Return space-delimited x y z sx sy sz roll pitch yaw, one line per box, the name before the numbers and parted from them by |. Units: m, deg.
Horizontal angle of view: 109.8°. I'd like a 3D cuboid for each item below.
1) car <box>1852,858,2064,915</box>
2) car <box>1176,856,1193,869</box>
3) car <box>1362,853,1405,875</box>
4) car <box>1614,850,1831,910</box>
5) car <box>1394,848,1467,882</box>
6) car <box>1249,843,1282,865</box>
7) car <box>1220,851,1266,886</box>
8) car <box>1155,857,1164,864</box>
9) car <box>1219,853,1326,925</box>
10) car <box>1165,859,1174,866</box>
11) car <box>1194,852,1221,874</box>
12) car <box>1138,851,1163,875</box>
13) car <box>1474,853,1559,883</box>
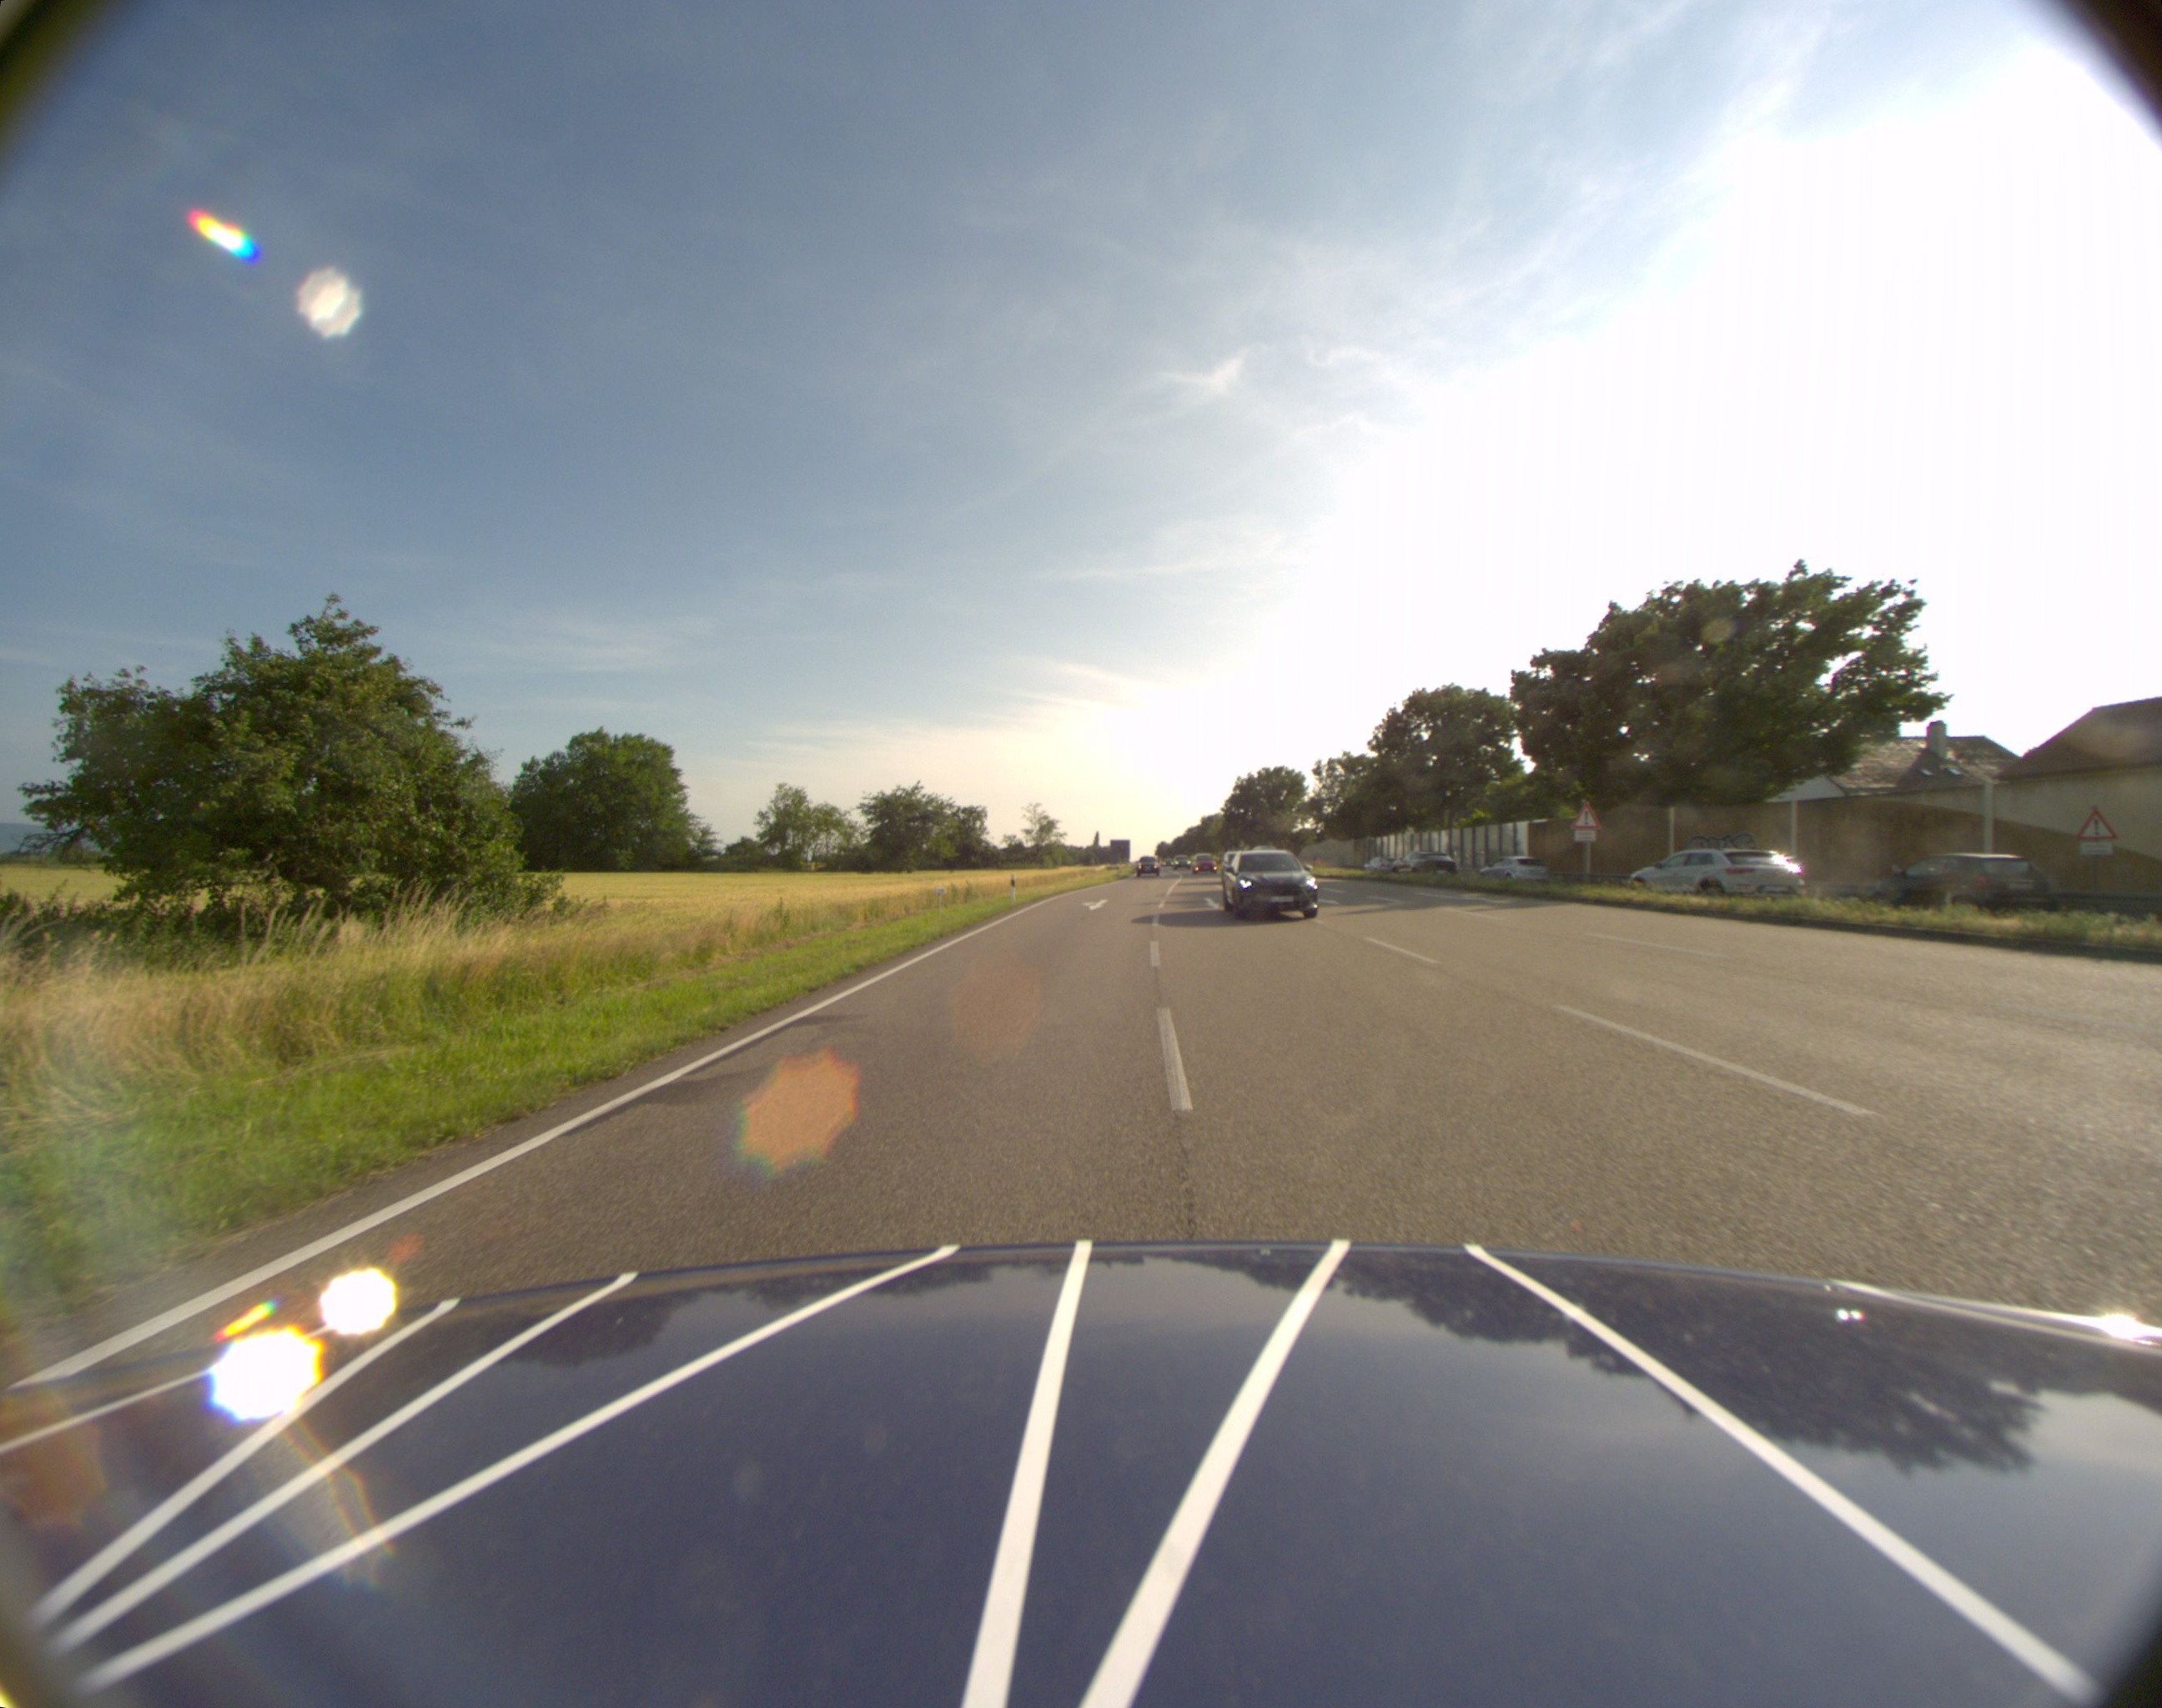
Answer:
car | 20.062 0.701 17.568 1.477 1.157 3.063 -2 0 5
car | 12.684 1.062 93.453 1.809 1.499 4.001 -2 0 4
car | 22.972 0.716 57.886 1.655 1.558 4.713 -2 0 5
car | 16.374 0.612 19.800 1.877 1.314 4.715 -2 0 4
car | 18.149 0.545 39.723 1.735 1.615 4.924 -2 0 4
car | 20.726 0.048 85.694 2.353 2.290 7.193 -2 0 4
car | 8.568 0.749 40.419 1.822 1.724 4.001 -2 0 5
car | 19.629 1.708 190.441 1.823 1.674 4.001 -2 0 3
car | 4.533 0.760 18.610 1.821 1.516 4.248 -2 0 5
car | 16.922 1.585 145.302 1.496 1.149 3.651 -2 0 3
car | 10.485 0.737 63.374 1.822 1.661 4.001 -2 0 4
car | 5.450 0.707 59.640 1.805 1.783 4.002 -2 0 5
car | 21.145 0.656 37.117 1.784 1.315 4.606 -2 0 5
